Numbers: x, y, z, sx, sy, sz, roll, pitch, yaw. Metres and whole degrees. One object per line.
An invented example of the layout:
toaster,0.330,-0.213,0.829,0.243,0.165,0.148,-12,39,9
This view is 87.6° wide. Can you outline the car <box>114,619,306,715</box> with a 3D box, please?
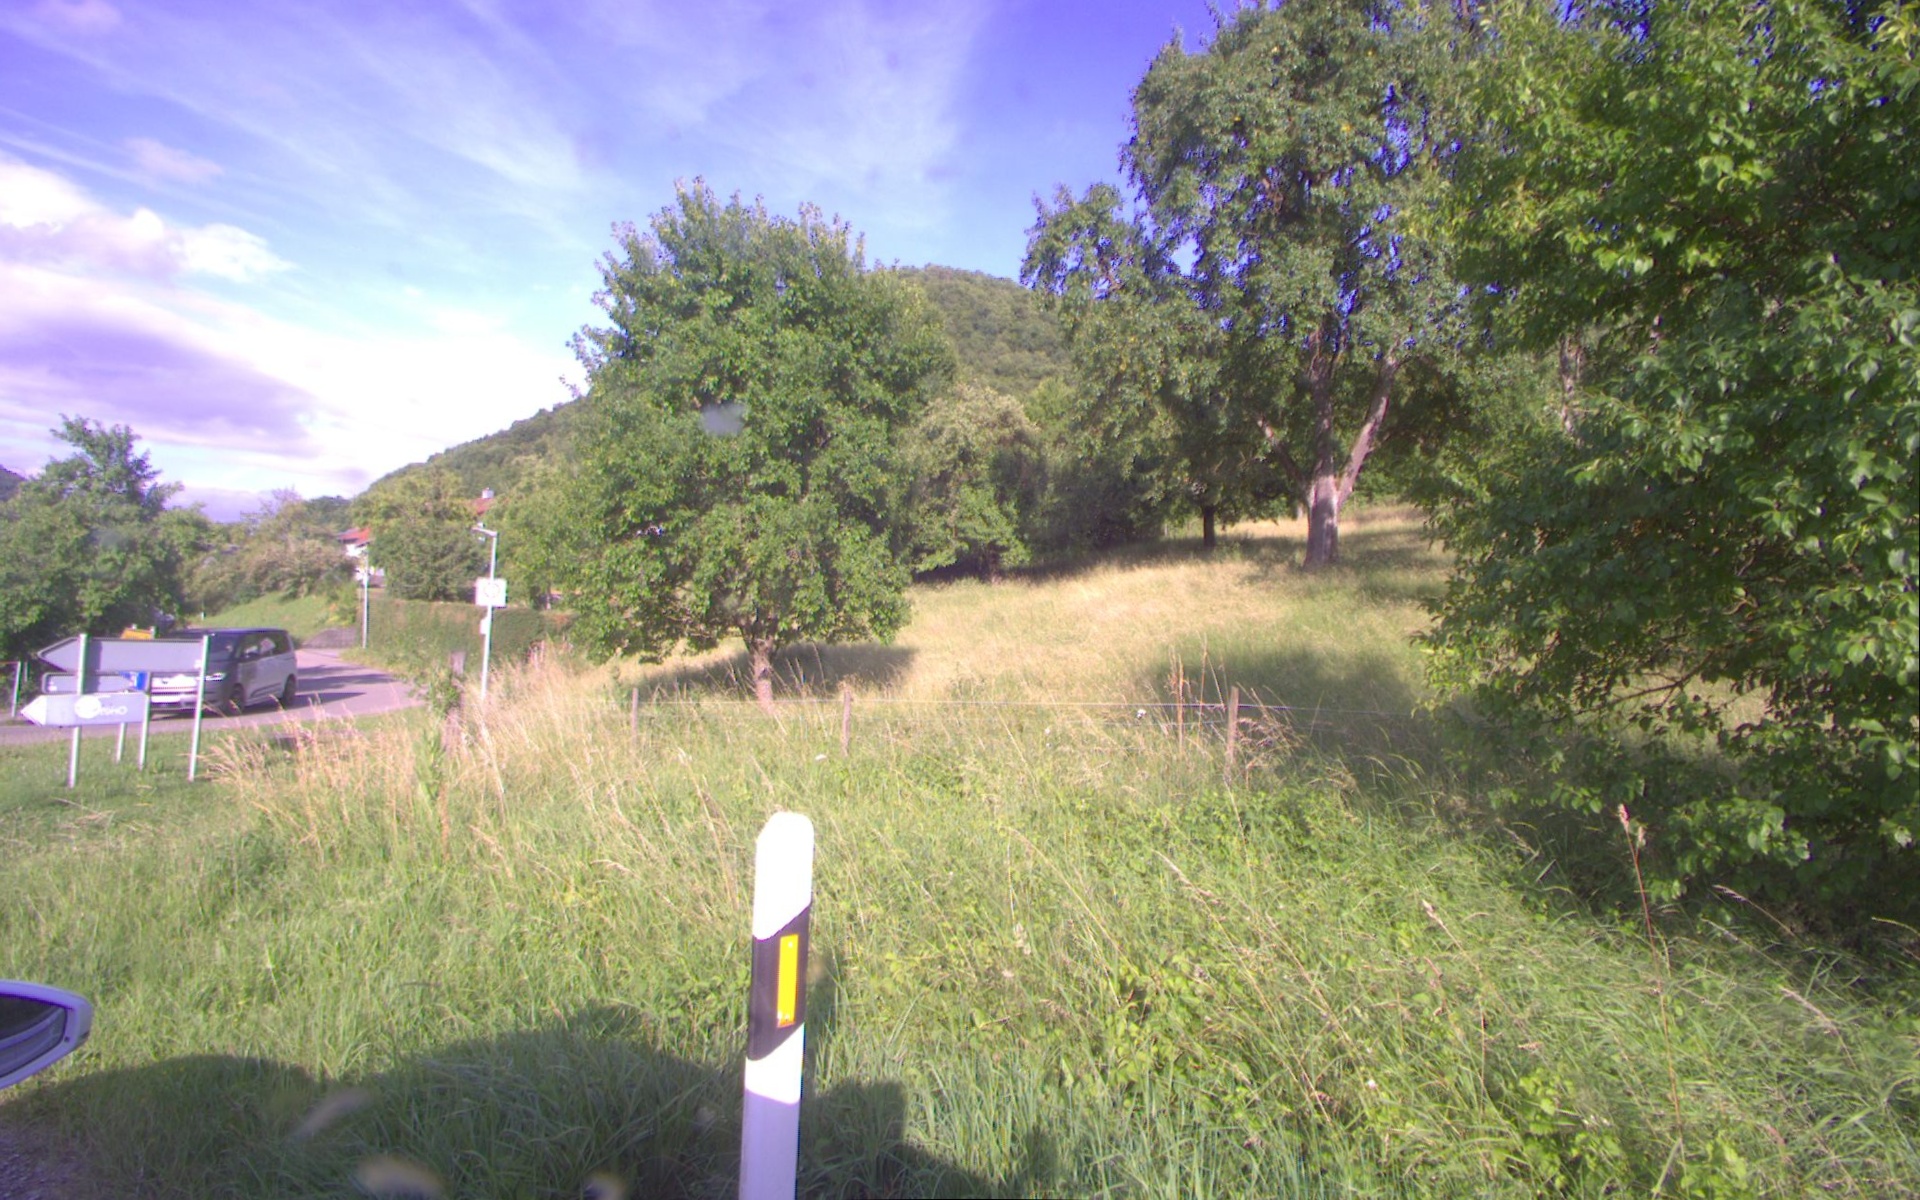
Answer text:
car,-16.691,1.459,22.634,1.966,1.900,4.862,3,-3,-19
